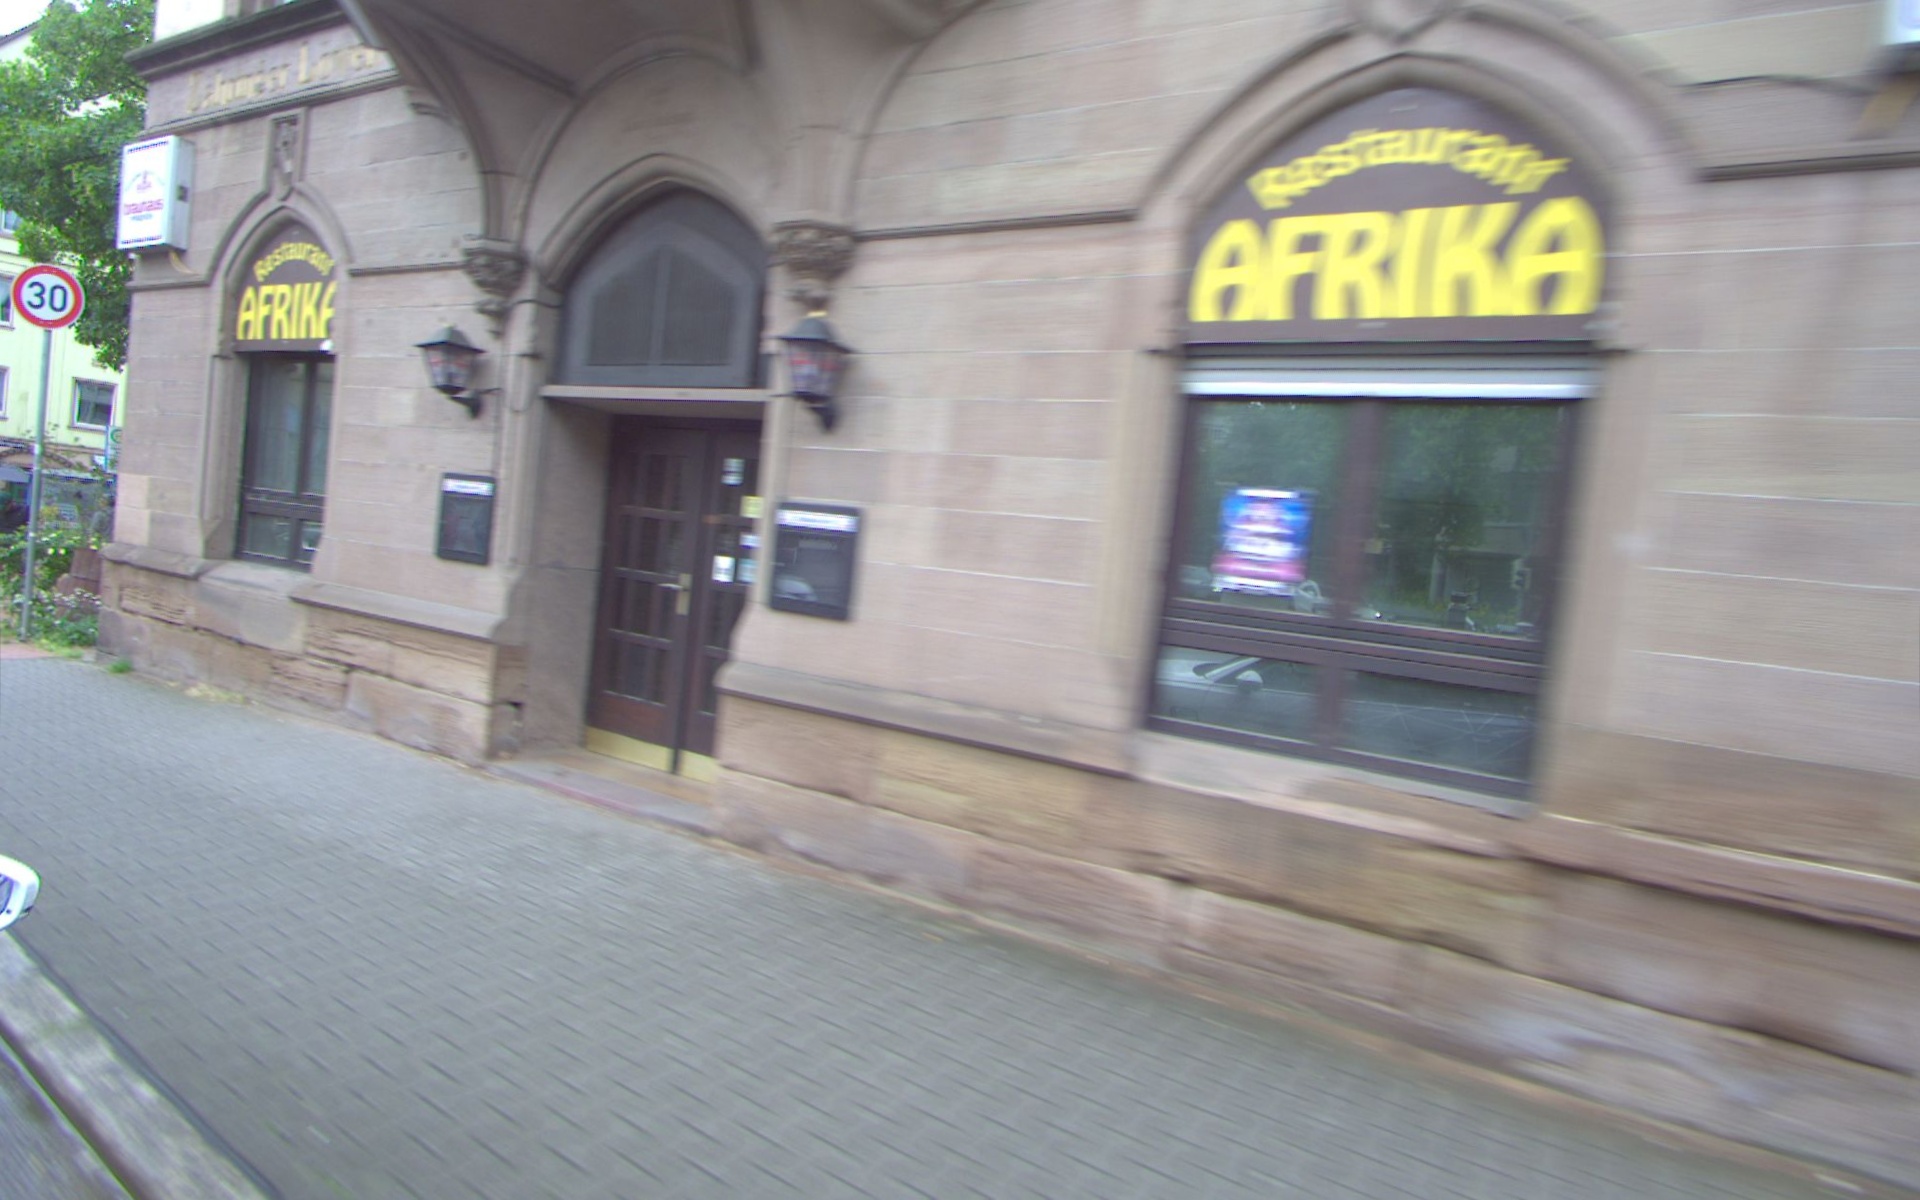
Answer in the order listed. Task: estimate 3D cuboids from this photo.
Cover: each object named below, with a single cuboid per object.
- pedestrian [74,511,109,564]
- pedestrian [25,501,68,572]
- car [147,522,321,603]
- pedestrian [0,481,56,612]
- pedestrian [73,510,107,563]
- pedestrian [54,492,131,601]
[{"bbox_3d":[-22.512,-1.622,26.077,0.567,1.295,0.528,7,-1,-40],"label":"pedestrian"},{"bbox_3d":[-24.400,-1.685,26.888,0.553,1.796,0.542,7,-1,-24],"label":"pedestrian"},{"bbox_3d":[-18.404,-0.884,25.742,1.739,1.519,3.677,8,-3,-3],"label":"car"},{"bbox_3d":[-13.005,-0.747,13.589,0.821,1.699,0.888,7,-1,-27],"label":"pedestrian"},{"bbox_3d":[-22.952,-1.668,26.550,0.567,1.295,0.612,7,-1,-40],"label":"pedestrian"},{"bbox_3d":[-14.774,-0.893,17.148,0.564,1.754,0.730,7,-1,-13],"label":"pedestrian"}]
